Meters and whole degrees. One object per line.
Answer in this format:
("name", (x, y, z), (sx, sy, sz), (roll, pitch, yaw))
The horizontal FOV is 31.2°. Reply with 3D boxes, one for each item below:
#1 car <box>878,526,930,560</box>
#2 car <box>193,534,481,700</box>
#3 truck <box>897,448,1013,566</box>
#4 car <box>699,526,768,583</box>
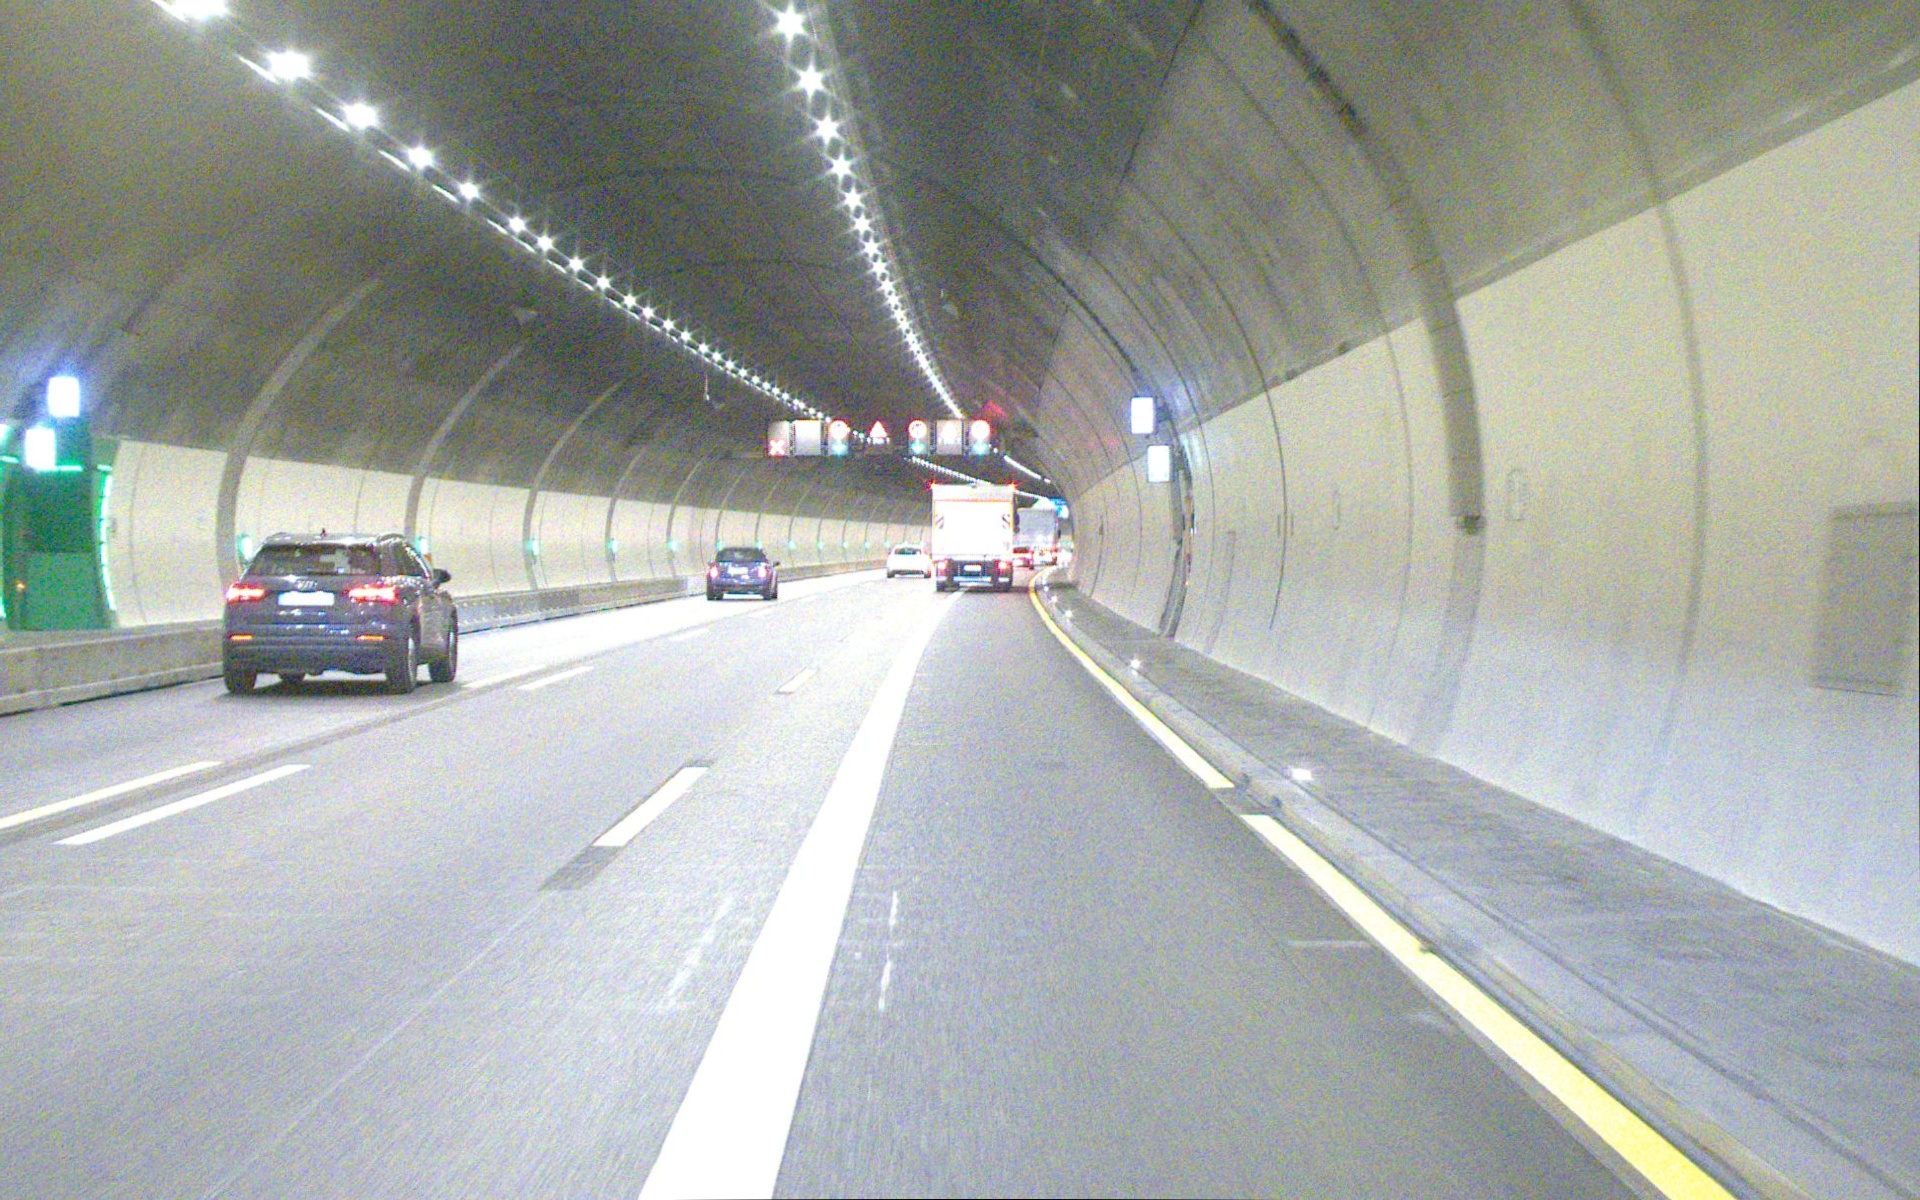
("car", (-2.438, -2.510, 150.145), (1.994, 1.408, 4.742), (-1, 2, 2))
("car", (-6.201, 0.113, 34.759), (1.993, 1.535, 4.743), (-1, 1, 0))
("truck", (-0.243, -3.056, 112.699), (3.592, 3.637, 10.723), (-1, 2, -1))
("car", (-5.962, -1.221, 90.813), (1.689, 1.412, 3.923), (-1, 2, -2))
